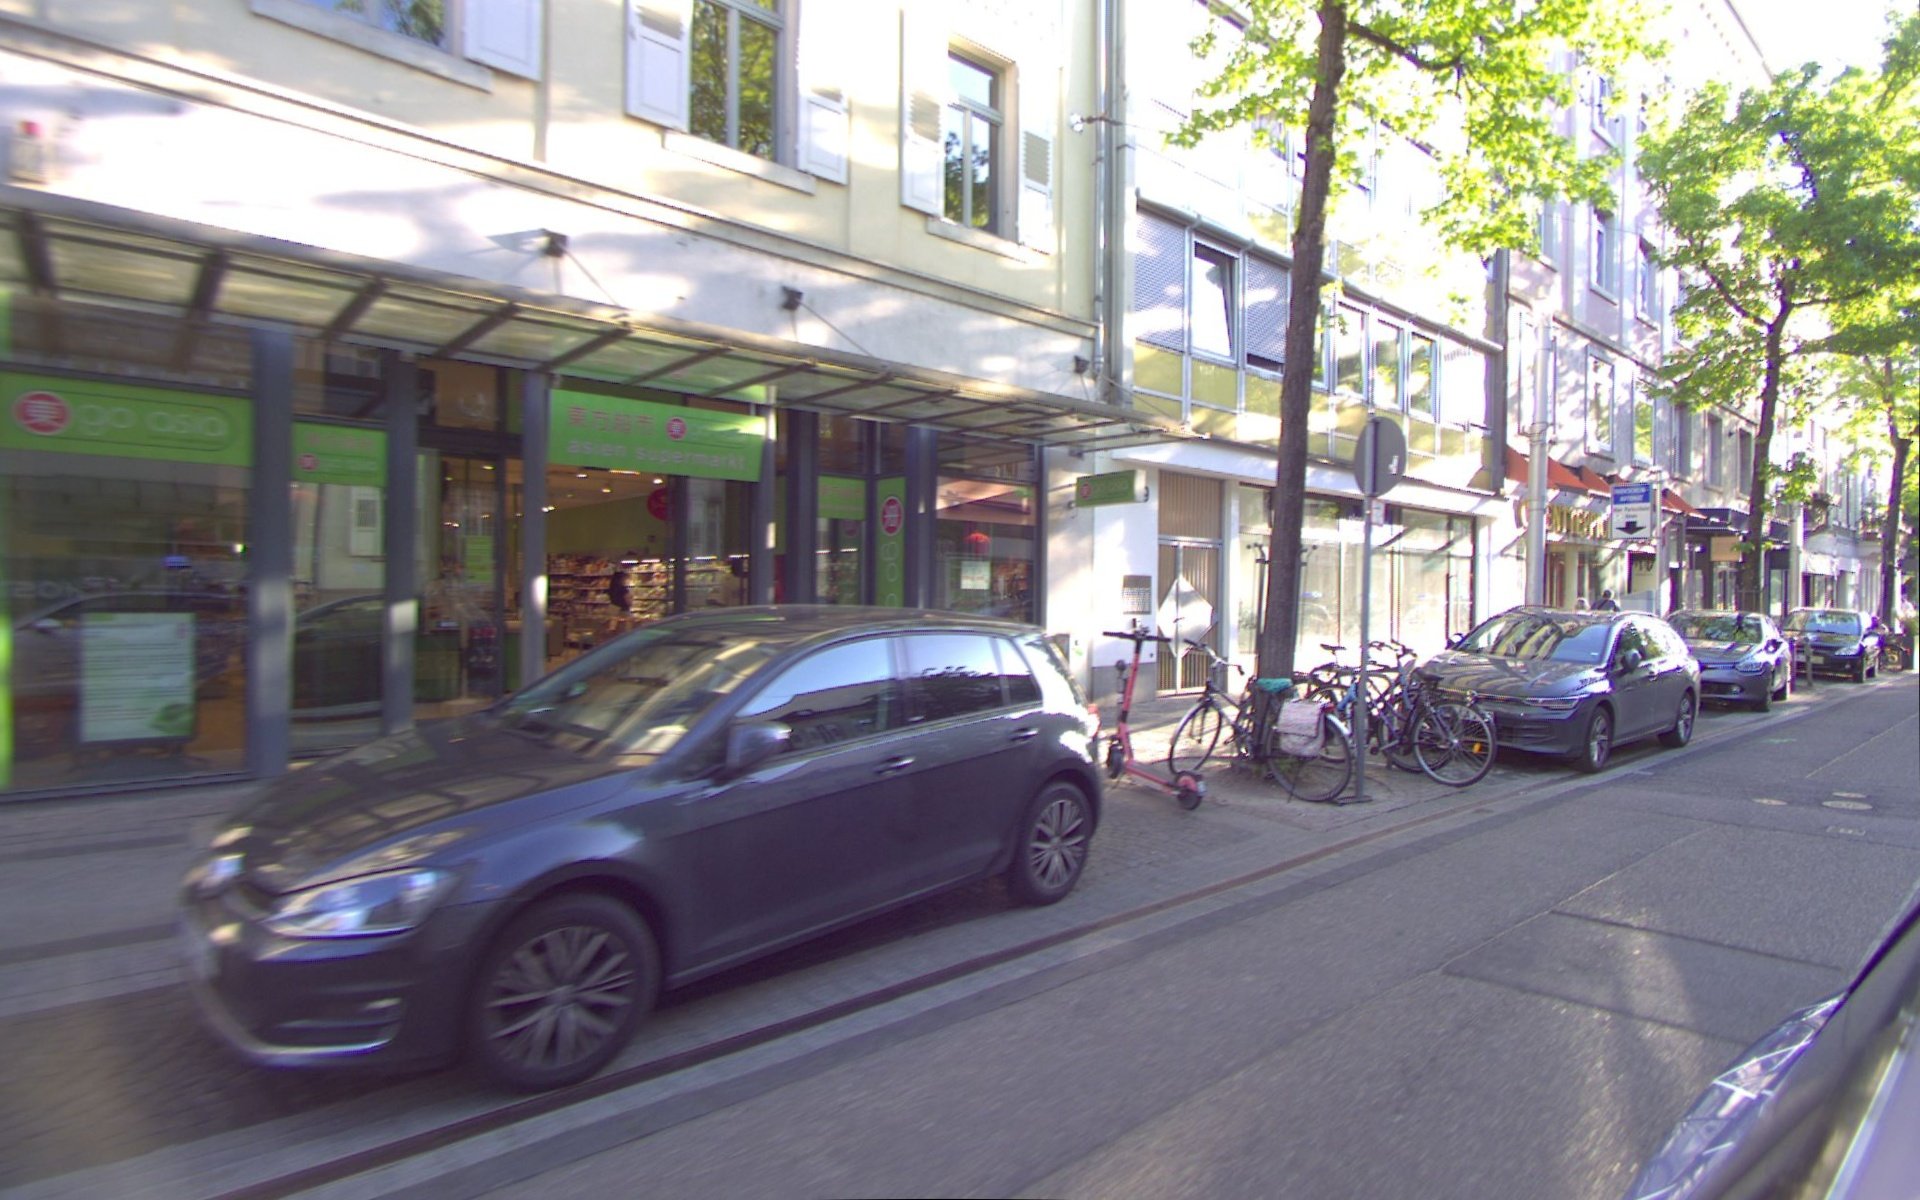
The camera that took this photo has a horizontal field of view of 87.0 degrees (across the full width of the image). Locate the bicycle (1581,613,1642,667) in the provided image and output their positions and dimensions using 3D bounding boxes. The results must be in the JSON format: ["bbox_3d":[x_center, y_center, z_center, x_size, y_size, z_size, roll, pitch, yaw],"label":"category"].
[{"bbox_3d":[14.137,0.837,21.955,1.829,1.087,0.648,0,1,-42],"label":"bicycle"}]

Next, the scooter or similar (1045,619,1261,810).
[{"bbox_3d":[1.393,0.776,7.545,0.662,1.211,1.543,0,0,-36],"label":"scooter or similar"}]

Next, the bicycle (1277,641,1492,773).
[{"bbox_3d":[3.751,0.909,9.119,0.326,0.976,1.903,1,0,-35],"label":"bicycle"}]

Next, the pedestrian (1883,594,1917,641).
[{"bbox_3d":[34.280,0.619,36.897,0.742,1.663,0.804,1,1,-40],"label":"pedestrian"}]

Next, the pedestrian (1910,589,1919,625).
[{"bbox_3d":[54.782,0.391,57.609,0.840,2.039,0.834,0,0,33],"label":"pedestrian"}]

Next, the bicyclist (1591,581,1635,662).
[{"bbox_3d":[14.204,0.457,22.019,0.589,1.705,0.640,1,1,-42],"label":"bicyclist"}]

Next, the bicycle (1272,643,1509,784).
[{"bbox_3d":[3.619,0.914,8.723,0.277,0.976,2.044,1,0,-35],"label":"bicycle"}]

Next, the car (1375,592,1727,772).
[{"bbox_3d":[6.371,0.712,10.757,4.031,1.471,1.876,0,3,-39],"label":"car"}]

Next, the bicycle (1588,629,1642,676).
[{"bbox_3d":[12.644,1.000,19.520,1.580,0.817,0.467,0,1,-42],"label":"bicycle"}]

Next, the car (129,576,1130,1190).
[{"bbox_3d":[-1.118,0.695,4.620,1.838,1.453,3.938,5,4,43],"label":"car"}]

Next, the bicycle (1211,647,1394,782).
[{"bbox_3d":[2.940,0.949,8.829,0.486,0.976,1.544,0,0,-33],"label":"bicycle"}]

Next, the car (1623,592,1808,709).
[{"bbox_3d":[12.177,0.694,16.219,1.816,1.504,3.936,6,4,44],"label":"car"}]

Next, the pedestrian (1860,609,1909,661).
[{"bbox_3d":[23.626,0.881,25.873,0.575,1.281,0.820,1,0,-35],"label":"pedestrian"}]

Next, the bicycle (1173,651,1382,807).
[{"bbox_3d":[2.382,0.929,7.753,0.486,0.976,1.543,0,0,-36],"label":"bicycle"}]

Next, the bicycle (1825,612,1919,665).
[{"bbox_3d":[22.309,0.919,24.702,0.535,1.152,1.736,1,2,-20],"label":"bicycle"}]

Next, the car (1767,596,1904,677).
[{"bbox_3d":[19.007,0.711,21.931,3.593,1.476,1.803,0,4,-43],"label":"car"}]

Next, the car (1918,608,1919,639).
[{"bbox_3d":[37.223,0.713,37.649,4.344,1.457,1.780,-1,4,-40],"label":"car"}]
